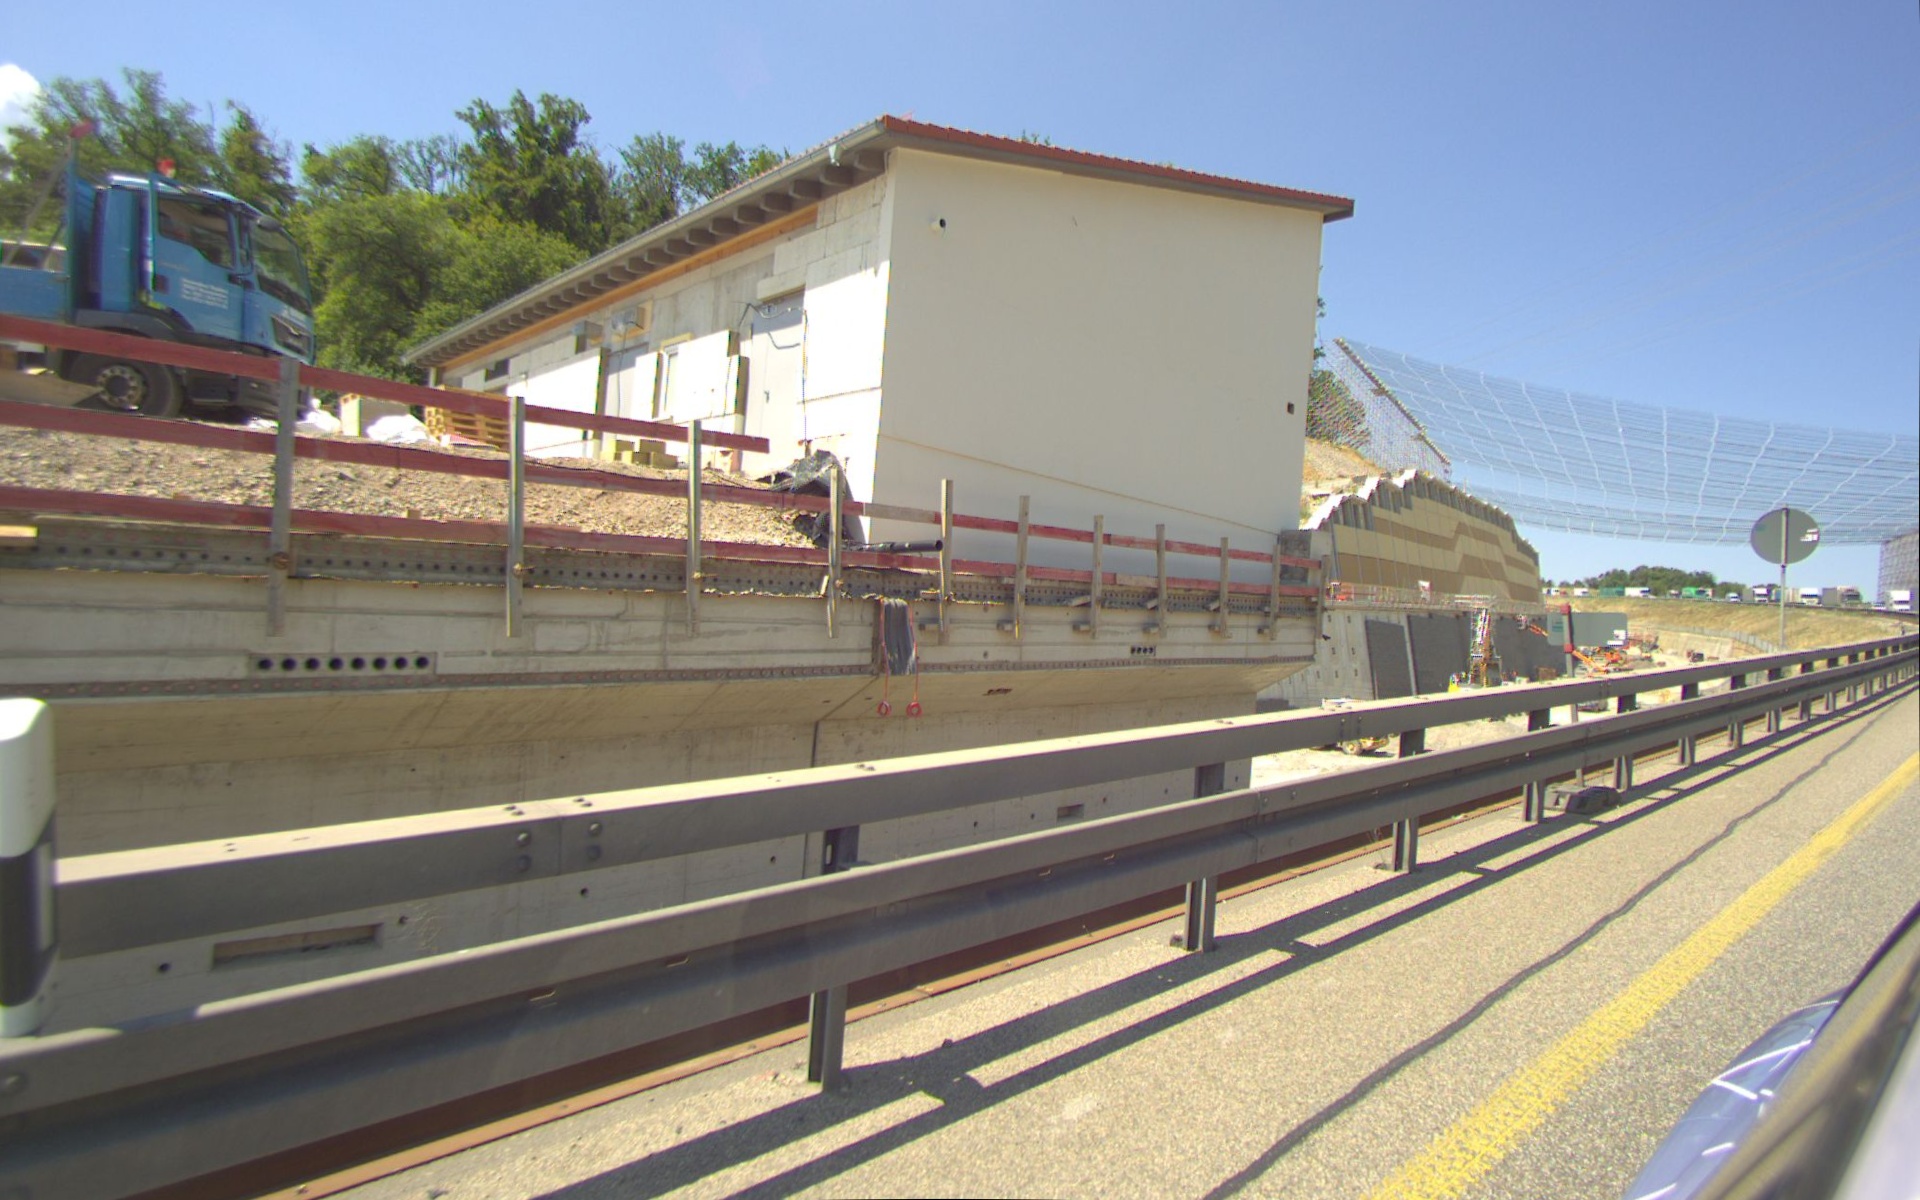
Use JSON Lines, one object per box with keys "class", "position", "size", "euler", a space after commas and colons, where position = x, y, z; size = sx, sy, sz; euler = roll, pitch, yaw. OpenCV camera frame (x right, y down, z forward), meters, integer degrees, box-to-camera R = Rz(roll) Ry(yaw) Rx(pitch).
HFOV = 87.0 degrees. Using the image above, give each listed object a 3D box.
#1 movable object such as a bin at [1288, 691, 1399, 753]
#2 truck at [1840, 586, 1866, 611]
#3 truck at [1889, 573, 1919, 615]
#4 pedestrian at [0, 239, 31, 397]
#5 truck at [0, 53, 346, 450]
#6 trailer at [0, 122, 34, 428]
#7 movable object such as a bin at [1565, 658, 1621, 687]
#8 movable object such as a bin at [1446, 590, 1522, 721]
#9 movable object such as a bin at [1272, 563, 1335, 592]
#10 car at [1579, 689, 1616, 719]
{"class": "movable object such as a bin", "position": [19.953, 6.293, 52.849], "size": [2.023, 2.625, 5.115], "euler": [1, -1, -40]}
{"class": "truck", "position": [148.243, -0.244, 167.984], "size": [3.031, 4.107, 8.544], "euler": [-1, 0, 42]}
{"class": "truck", "position": [114.192, -0.774, 122.018], "size": [3.032, 4.866, 8.806], "euler": [-1, 0, 42]}
{"class": "pedestrian", "position": [-8.787, -2.473, 8.736], "size": [0.975, 1.165, 1.023], "euler": [-1, 0, -34]}
{"class": "truck", "position": [-11.097, -4.113, 12.272], "size": [5.590, 3.742, 2.725], "euler": [3, -1, -17]}
{"class": "trailer", "position": [-16.112, -4.312, 10.738], "size": [8.805, 3.742, 2.725], "euler": [3, -1, -17]}
{"class": "movable object such as a bin", "position": [67.260, 7.660, 107.677], "size": [2.176, 2.670, 5.505], "euler": [-1, 0, -4]}
{"class": "movable object such as a bin", "position": [31.674, 3.151, 61.029], "size": [2.919, 7.446, 6.154], "euler": [-1, 0, 38]}
{"class": "movable object such as a bin", "position": [25.162, -1.636, 74.039], "size": [5.265, 2.039, 2.078], "euler": [-1, 0, -43]}
{"class": "car", "position": [52.451, 8.508, 83.227], "size": [1.992, 2.039, 3.940], "euler": [-1, 0, 42]}
